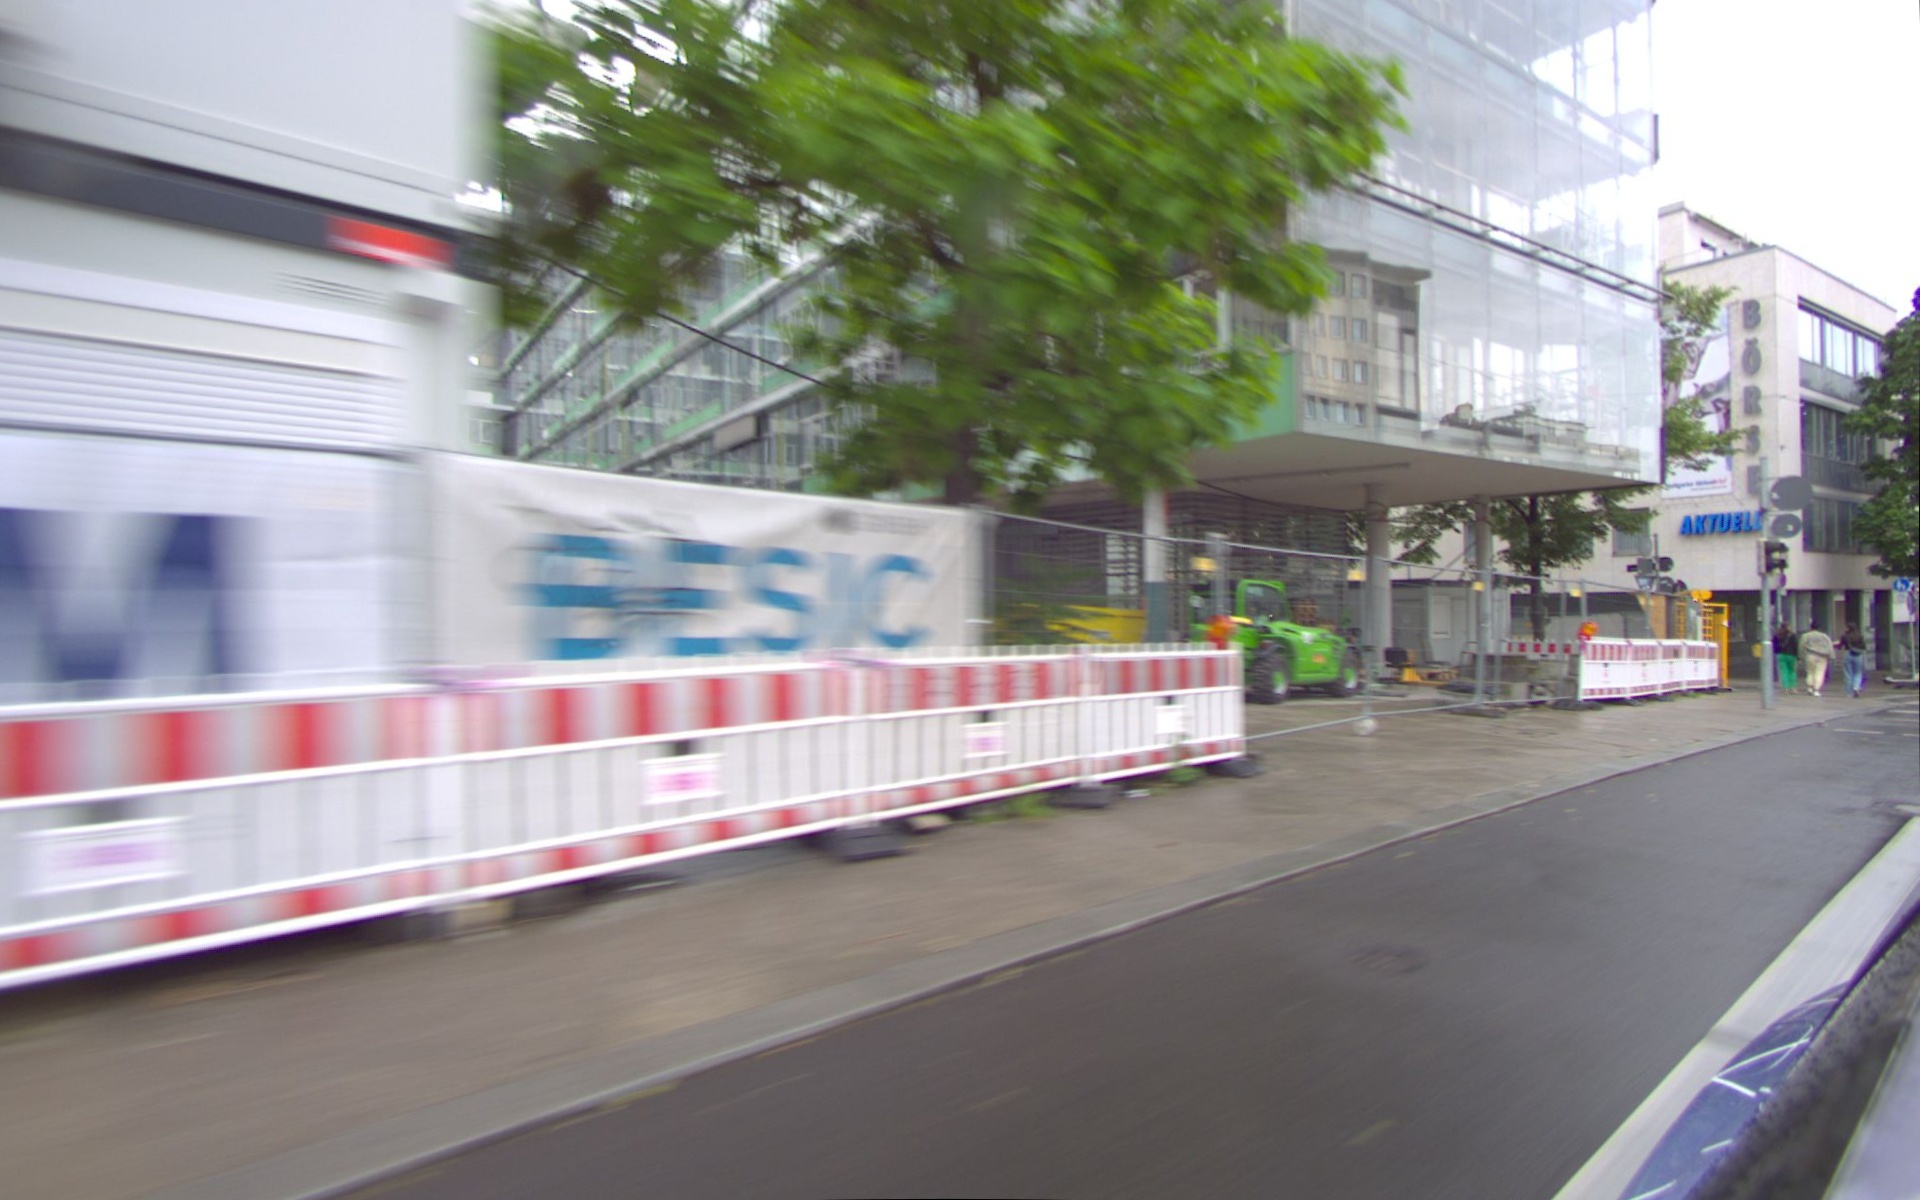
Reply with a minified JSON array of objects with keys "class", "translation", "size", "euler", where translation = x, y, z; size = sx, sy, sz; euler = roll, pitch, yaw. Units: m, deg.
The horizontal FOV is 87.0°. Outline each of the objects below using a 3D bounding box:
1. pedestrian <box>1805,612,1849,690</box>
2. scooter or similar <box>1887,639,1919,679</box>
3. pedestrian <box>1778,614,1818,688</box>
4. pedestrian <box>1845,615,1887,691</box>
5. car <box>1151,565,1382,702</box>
[{"class":"pedestrian","translation":[20.550,1.189,23.985],"size":[0.718,1.784,0.943],"euler":[-1,-2,44]},{"class":"scooter or similar","translation":[29.197,1.786,30.773],"size":[1.368,1.195,0.508],"euler":[0,-2,23]},{"class":"pedestrian","translation":[20.600,1.238,24.873],"size":[0.830,1.784,0.599],"euler":[2,-2,-40]},{"class":"pedestrian","translation":[21.725,1.254,24.261],"size":[0.718,1.784,0.943],"euler":[-1,-2,44]},{"class":"car","translation":[5.253,0.535,17.060],"size":[4.131,2.008,2.011],"euler":[2,-1,-44]}]
